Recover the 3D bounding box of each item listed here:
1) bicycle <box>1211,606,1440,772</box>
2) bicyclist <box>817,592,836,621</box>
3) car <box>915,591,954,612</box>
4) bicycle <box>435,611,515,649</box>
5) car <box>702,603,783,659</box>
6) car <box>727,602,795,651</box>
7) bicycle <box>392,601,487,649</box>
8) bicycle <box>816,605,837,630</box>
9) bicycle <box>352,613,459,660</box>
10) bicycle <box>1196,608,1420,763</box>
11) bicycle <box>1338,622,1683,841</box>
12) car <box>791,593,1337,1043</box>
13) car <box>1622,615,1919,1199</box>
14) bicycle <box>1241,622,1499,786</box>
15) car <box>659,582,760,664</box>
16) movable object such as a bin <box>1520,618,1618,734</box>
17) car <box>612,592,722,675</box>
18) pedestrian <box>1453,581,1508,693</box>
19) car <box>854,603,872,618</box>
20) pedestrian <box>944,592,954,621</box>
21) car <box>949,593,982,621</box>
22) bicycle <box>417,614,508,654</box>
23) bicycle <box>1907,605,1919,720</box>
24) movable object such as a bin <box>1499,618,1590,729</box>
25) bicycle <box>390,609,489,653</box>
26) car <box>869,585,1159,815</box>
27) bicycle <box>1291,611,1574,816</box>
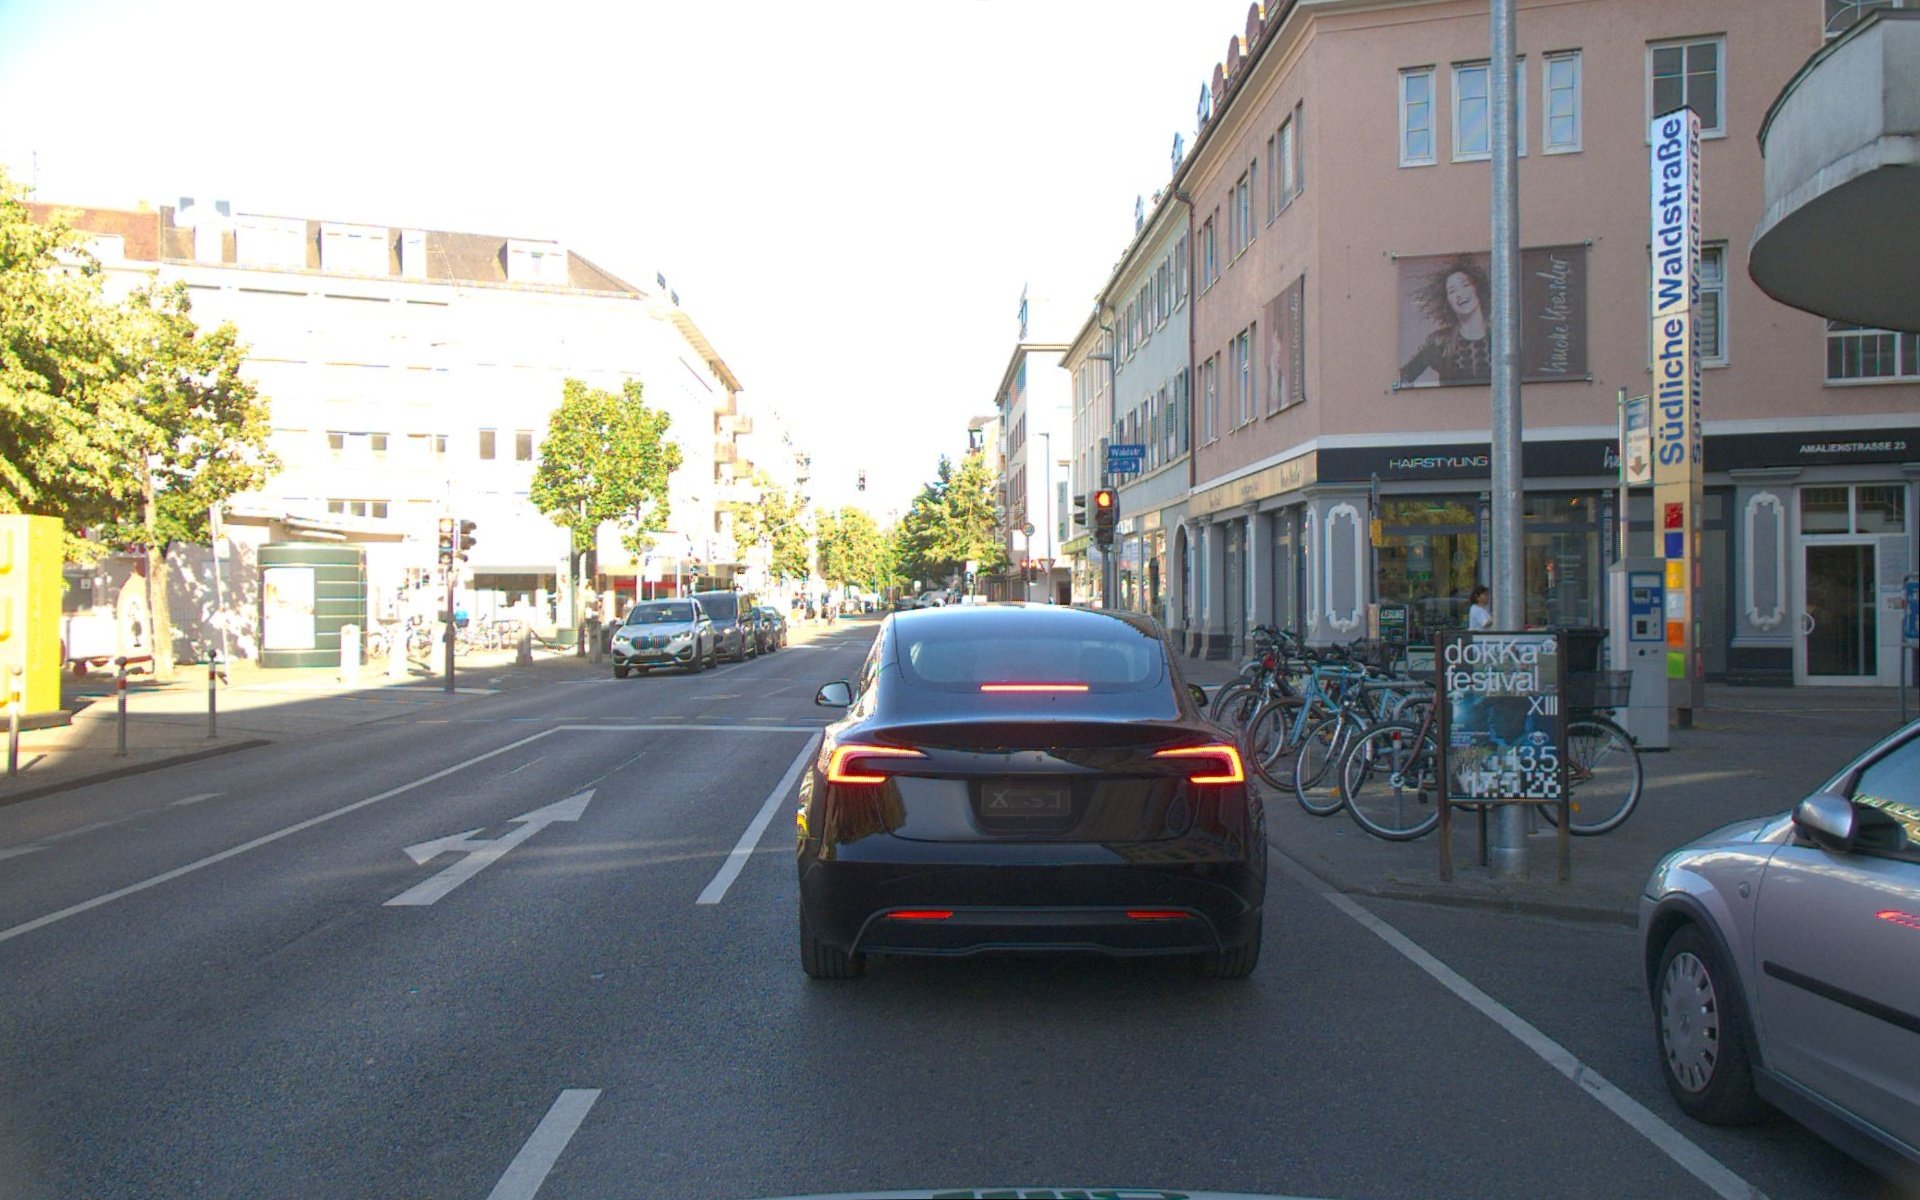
[{"bbox_3d":[2.993,0.717,13.672,1.709,1.289,0.781,-2,0,2],"label":"bicycle"},{"bbox_3d":[-7.710,0.372,95.481,1.104,1.657,0.964,0,0,-4],"label":"bicyclist"},{"bbox_3d":[-2.566,0.162,167.502,3.907,2.049,1.999,0,0,-2],"label":"car"},{"bbox_3d":[-15.213,0.939,51.912,2.279,1.176,0.841,0,0,-6],"label":"bicycle"},{"bbox_3d":[-6.417,0.882,49.310,1.954,1.434,4.671,-4,0,-3],"label":"car"},{"bbox_3d":[-6.800,0.870,56.896,1.954,1.461,4.671,-4,0,-3],"label":"car"},{"bbox_3d":[-14.707,0.695,46.798,2.429,1.347,0.921,0,0,-6],"label":"bicycle"},{"bbox_3d":[-7.694,0.999,95.387,1.089,1.368,3.997,0,0,-4],"label":"bicycle"},{"bbox_3d":[-14.185,0.920,42.341,2.455,1.176,0.842,0,0,-2],"label":"bicycle"},{"bbox_3d":[3.058,0.744,14.703,1.822,1.280,0.833,-2,0,5],"label":"bicycle"},{"bbox_3d":[3.291,0.780,10.014,1.846,1.214,0.692,-2,1,5],"label":"bicycle"},{"bbox_3d":[0.320,0.726,7.483,1.810,1.480,3.999,0,0,-1],"label":"car"},{"bbox_3d":[2.936,0.774,3.504,1.580,1.406,3.642,1,0,0],"label":"car"},{"bbox_3d":[3.062,0.767,12.494,1.760,1.144,0.782,-2,0,5],"label":"bicycle"},{"bbox_3d":[-6.363,0.535,42.489,1.797,1.877,4.674,-4,0,0],"label":"car"},{"bbox_3d":[6.049,0.745,16.451,0.737,1.111,0.627,1,0,1],"label":"movable object such as a bin"},{"bbox_3d":[-6.314,0.682,36.042,1.771,1.582,4.307,-4,0,-3],"label":"car"},{"bbox_3d":[7.527,0.524,23.909,0.731,1.579,0.699,0,0,20],"label":"pedestrian"},{"bbox_3d":[-10.980,1.216,186.879,1.954,1.666,3.997,0,0,-4],"label":"car"},{"bbox_3d":[-0.787,0.477,118.957,0.628,2.049,0.690,0,0,-7],"label":"pedestrian"},{"bbox_3d":[0.296,0.417,100.690,1.953,1.657,3.999,0,0,-1],"label":"car"},{"bbox_3d":[-14.885,1.012,49.552,2.485,1.176,0.841,0,0,-6],"label":"bicycle"},{"bbox_3d":[10.352,0.667,16.978,0.645,1.220,2.212,0,0,18],"label":"bicycle"},{"bbox_3d":[6.028,0.747,17.088,0.718,1.111,0.627,1,0,1],"label":"movable object such as a bin"},{"bbox_3d":[-14.098,0.840,44.875,2.412,1.176,0.842,0,0,-2],"label":"bicycle"},{"bbox_3d":[0.293,0.664,13.192,1.953,1.538,4.173,0,0,-2],"label":"car"},{"bbox_3d":[3.144,0.745,11.144,1.686,1.290,0.791,-2,0,5],"label":"bicycle"}]
